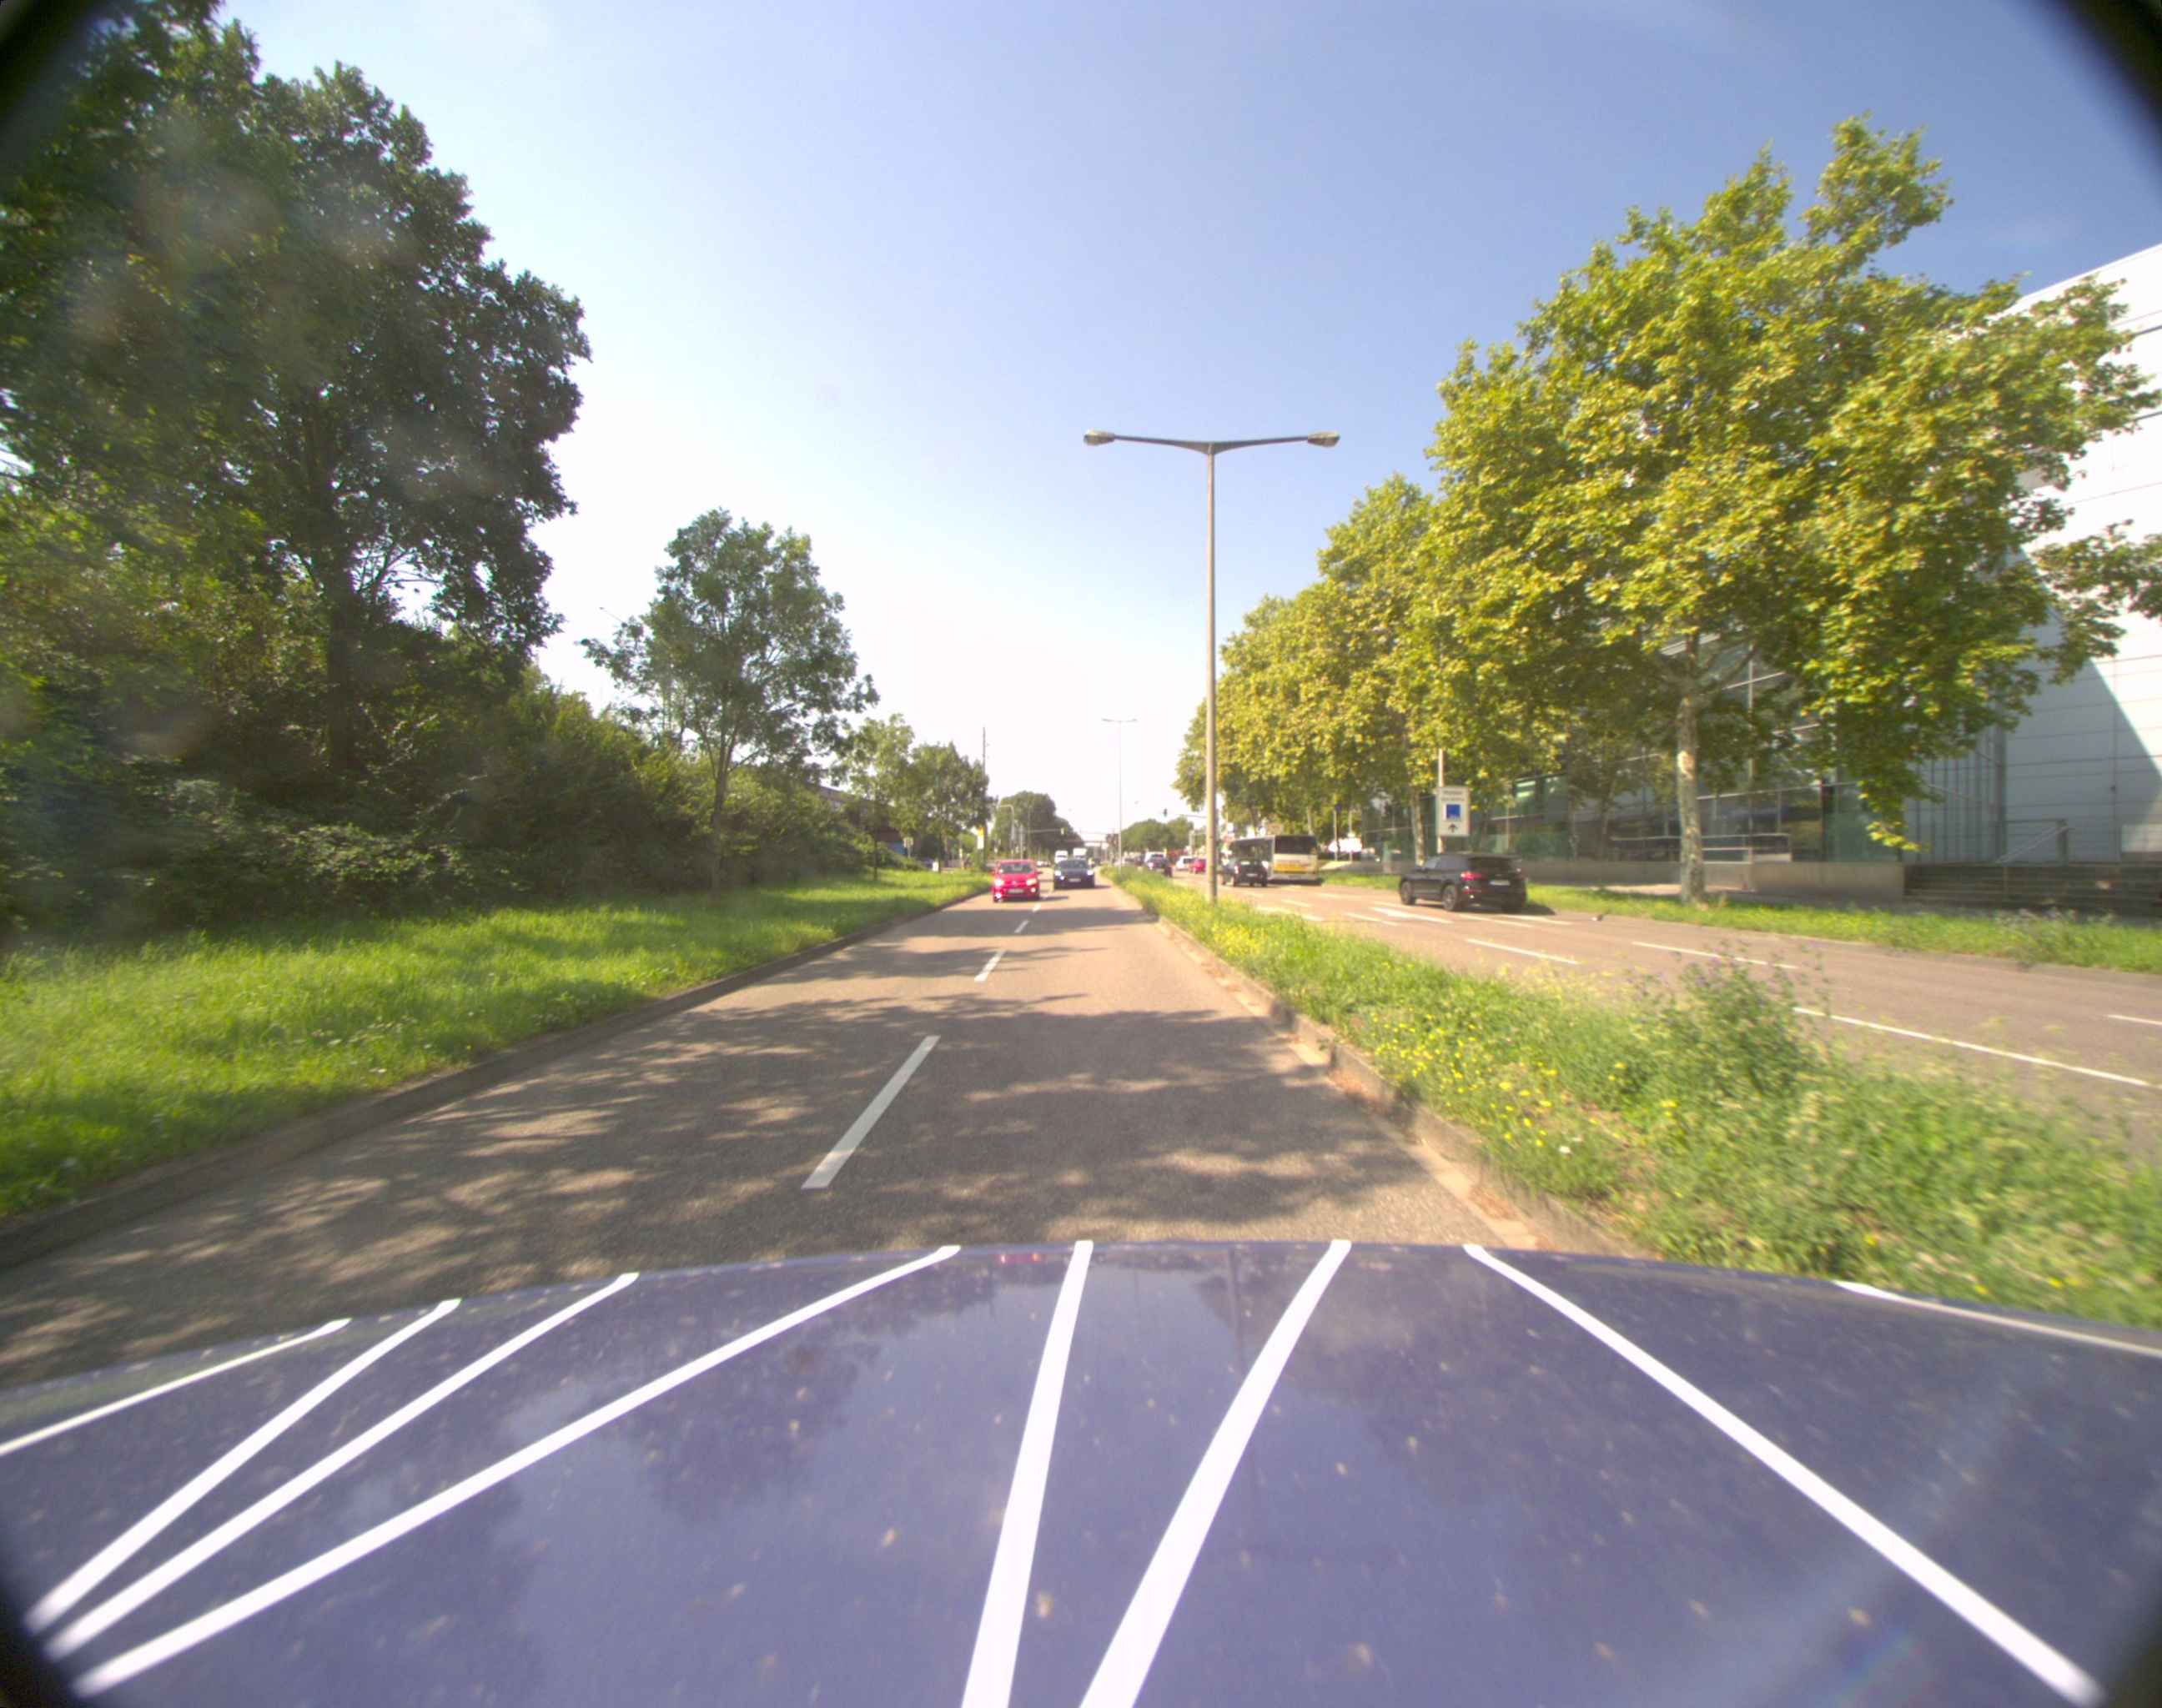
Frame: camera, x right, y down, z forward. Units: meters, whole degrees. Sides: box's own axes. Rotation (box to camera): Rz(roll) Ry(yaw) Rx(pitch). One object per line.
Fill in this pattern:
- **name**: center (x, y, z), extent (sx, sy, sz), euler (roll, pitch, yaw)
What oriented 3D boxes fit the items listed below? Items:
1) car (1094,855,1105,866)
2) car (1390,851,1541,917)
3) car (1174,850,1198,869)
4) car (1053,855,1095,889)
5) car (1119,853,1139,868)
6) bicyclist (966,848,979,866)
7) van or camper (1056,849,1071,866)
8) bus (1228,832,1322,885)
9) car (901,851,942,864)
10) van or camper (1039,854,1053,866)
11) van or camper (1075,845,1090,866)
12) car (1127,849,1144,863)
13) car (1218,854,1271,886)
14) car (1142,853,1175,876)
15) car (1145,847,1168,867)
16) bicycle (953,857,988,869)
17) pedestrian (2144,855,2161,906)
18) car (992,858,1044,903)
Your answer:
- **car**: center (3.183, 1.098, 130.354), extent (1.904, 1.603, 5.199), euler (-2, -2, 2)
- **car**: center (10.848, 0.778, 21.867), extent (1.850, 1.596, 4.610), euler (3, 0, -1)
- **car**: center (11.318, 0.562, 81.891), extent (1.932, 1.884, 3.975), euler (1, 0, -2)
- **car**: center (-0.392, 0.866, 36.511), extent (1.643, 1.458, 3.553), euler (-3, -1, -6)
- **car**: center (4.817, 0.669, 76.804), extent (1.618, 1.526, 4.101), euler (1, -1, -1)
- **bicyclist**: center (-9.946, 0.271, 69.603), extent (0.971, 1.648, 0.711), euler (0, 0, -27)
- **van or camper**: center (-2.858, 0.612, 125.044), extent (2.248, 2.467, 6.868), euler (-2, -2, 0)
- **bus**: center (11.208, 0.213, 45.274), extent (2.669, 2.678, 10.904), euler (1, 0, -1)
- **car**: center (-18.505, 0.404, 88.429), extent (4.607, 1.434, 1.839), euler (1, 0, -10)
- **van or camper**: center (-5.607, 1.040, 122.323), extent (1.850, 1.765, 4.176), euler (-2, -2, 1)
- **van or camper**: center (0.281, 0.296, 129.620), extent (2.247, 3.341, 6.854), euler (-2, -2, 2)
- **car**: center (7.864, 0.291, 109.698), extent (1.932, 1.946, 5.212), euler (0, -1, -1)
- **car**: center (8.116, 0.774, 38.073), extent (1.709, 1.481, 4.312), euler (0, 0, 0)
- **car**: center (5.378, 0.701, 53.459), extent (1.850, 1.481, 4.643), euler (2, 0, 0)
- **car**: center (8.075, 0.363, 81.664), extent (1.932, 1.948, 5.191), euler (1, -1, 1)
- **bicycle**: center (-10.123, 0.848, 69.596), extent (2.982, 1.043, 1.232), euler (0, -1, -27)
- **pedestrian**: center (23.720, 0.564, 16.397), extent (0.737, 1.103, 0.562), euler (-2, -2, -5)
- **car**: center (-2.342, 0.926, 27.690), extent (1.644, 1.458, 3.551), euler (-2, 0, -8)
